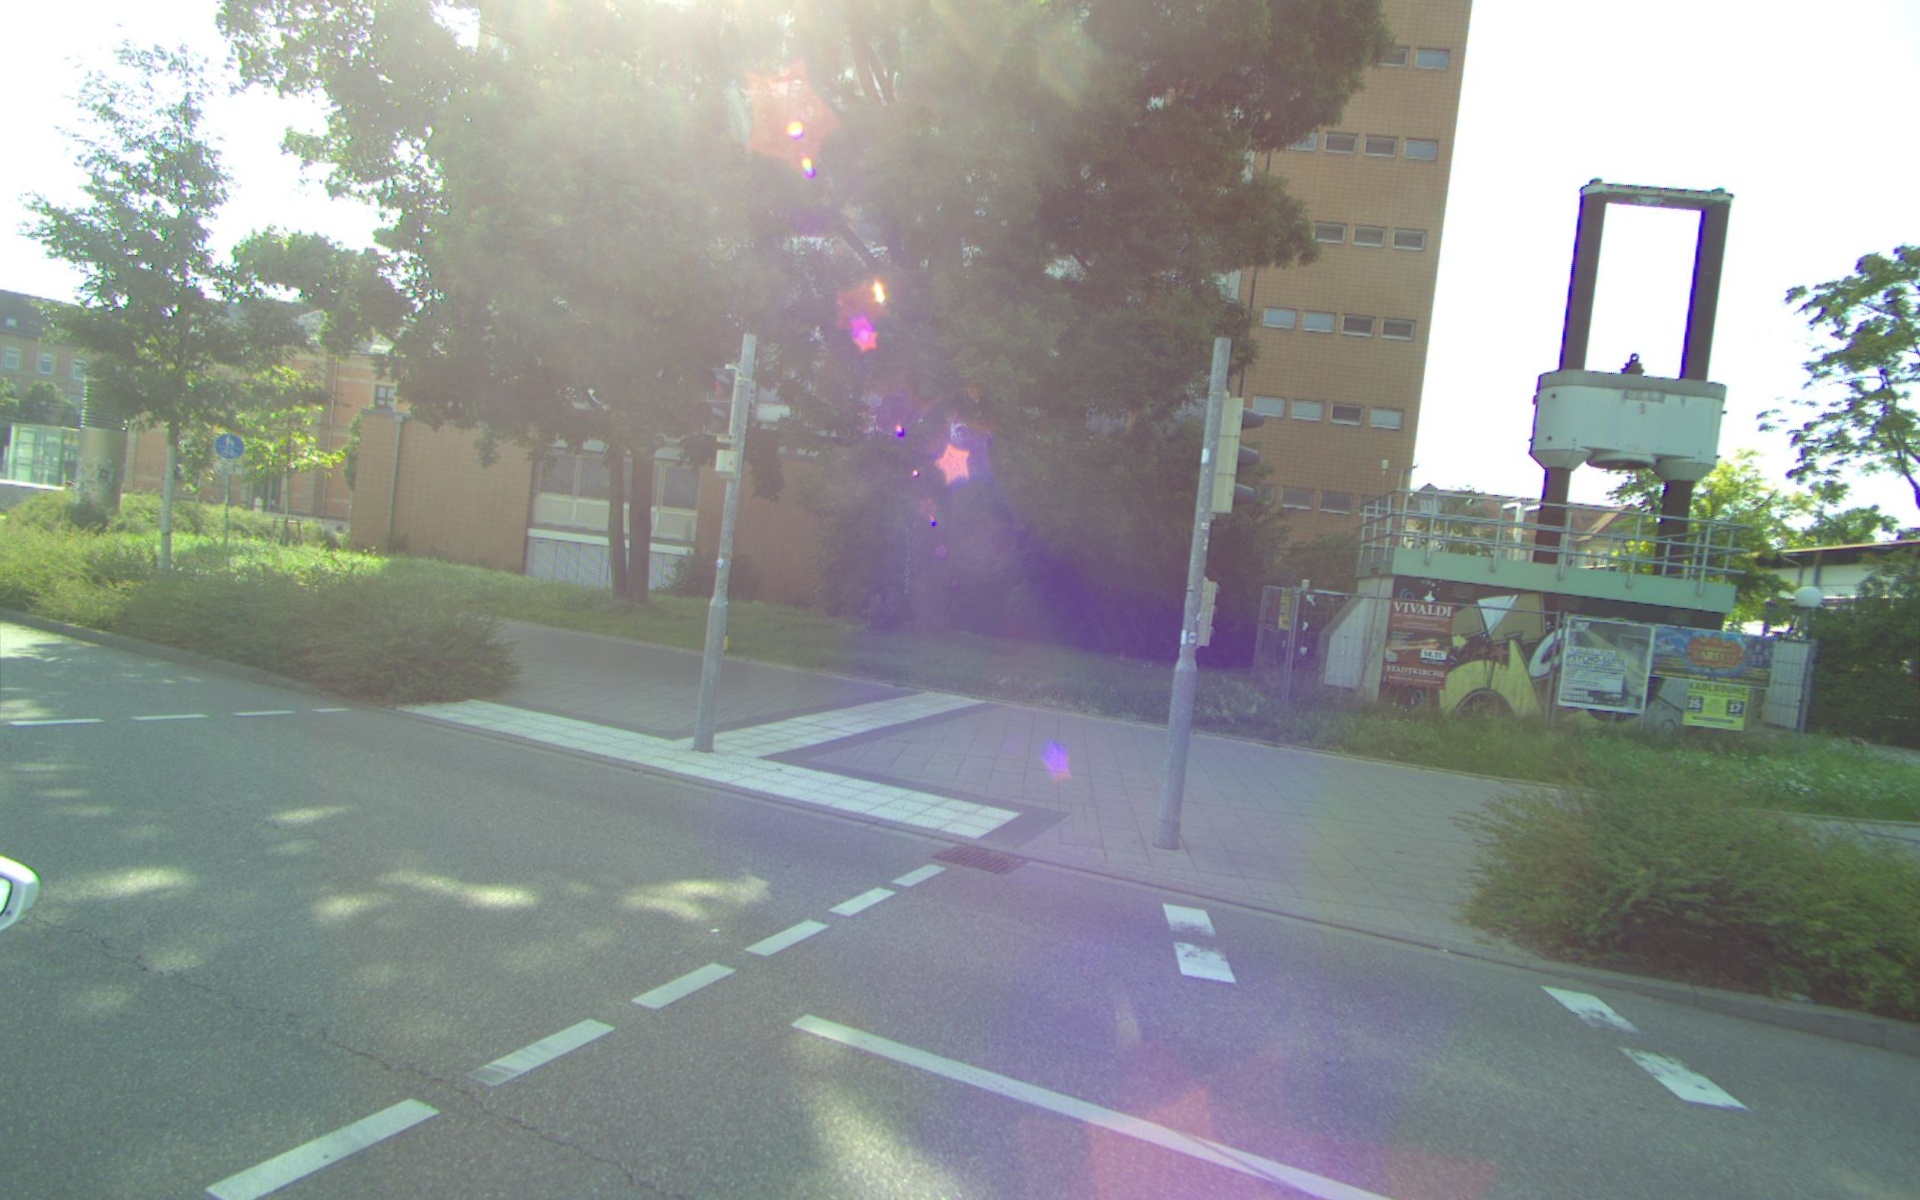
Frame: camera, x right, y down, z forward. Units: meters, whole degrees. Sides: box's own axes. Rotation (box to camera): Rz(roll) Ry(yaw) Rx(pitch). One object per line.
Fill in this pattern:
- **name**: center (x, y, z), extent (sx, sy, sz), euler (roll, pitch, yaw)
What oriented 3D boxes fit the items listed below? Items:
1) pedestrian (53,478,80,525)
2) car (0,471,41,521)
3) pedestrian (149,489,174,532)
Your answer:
- **pedestrian**: center (-33.270, -3.669, 37.467), extent (0.611, 1.660, 0.528), euler (5, 2, -38)
- **car**: center (-44.952, -4.957, 45.942), extent (1.720, 2.039, 4.001), euler (9, 1, 12)
- **pedestrian**: center (-32.869, -3.691, 41.416), extent (0.526, 1.649, 0.613), euler (8, 2, 40)
